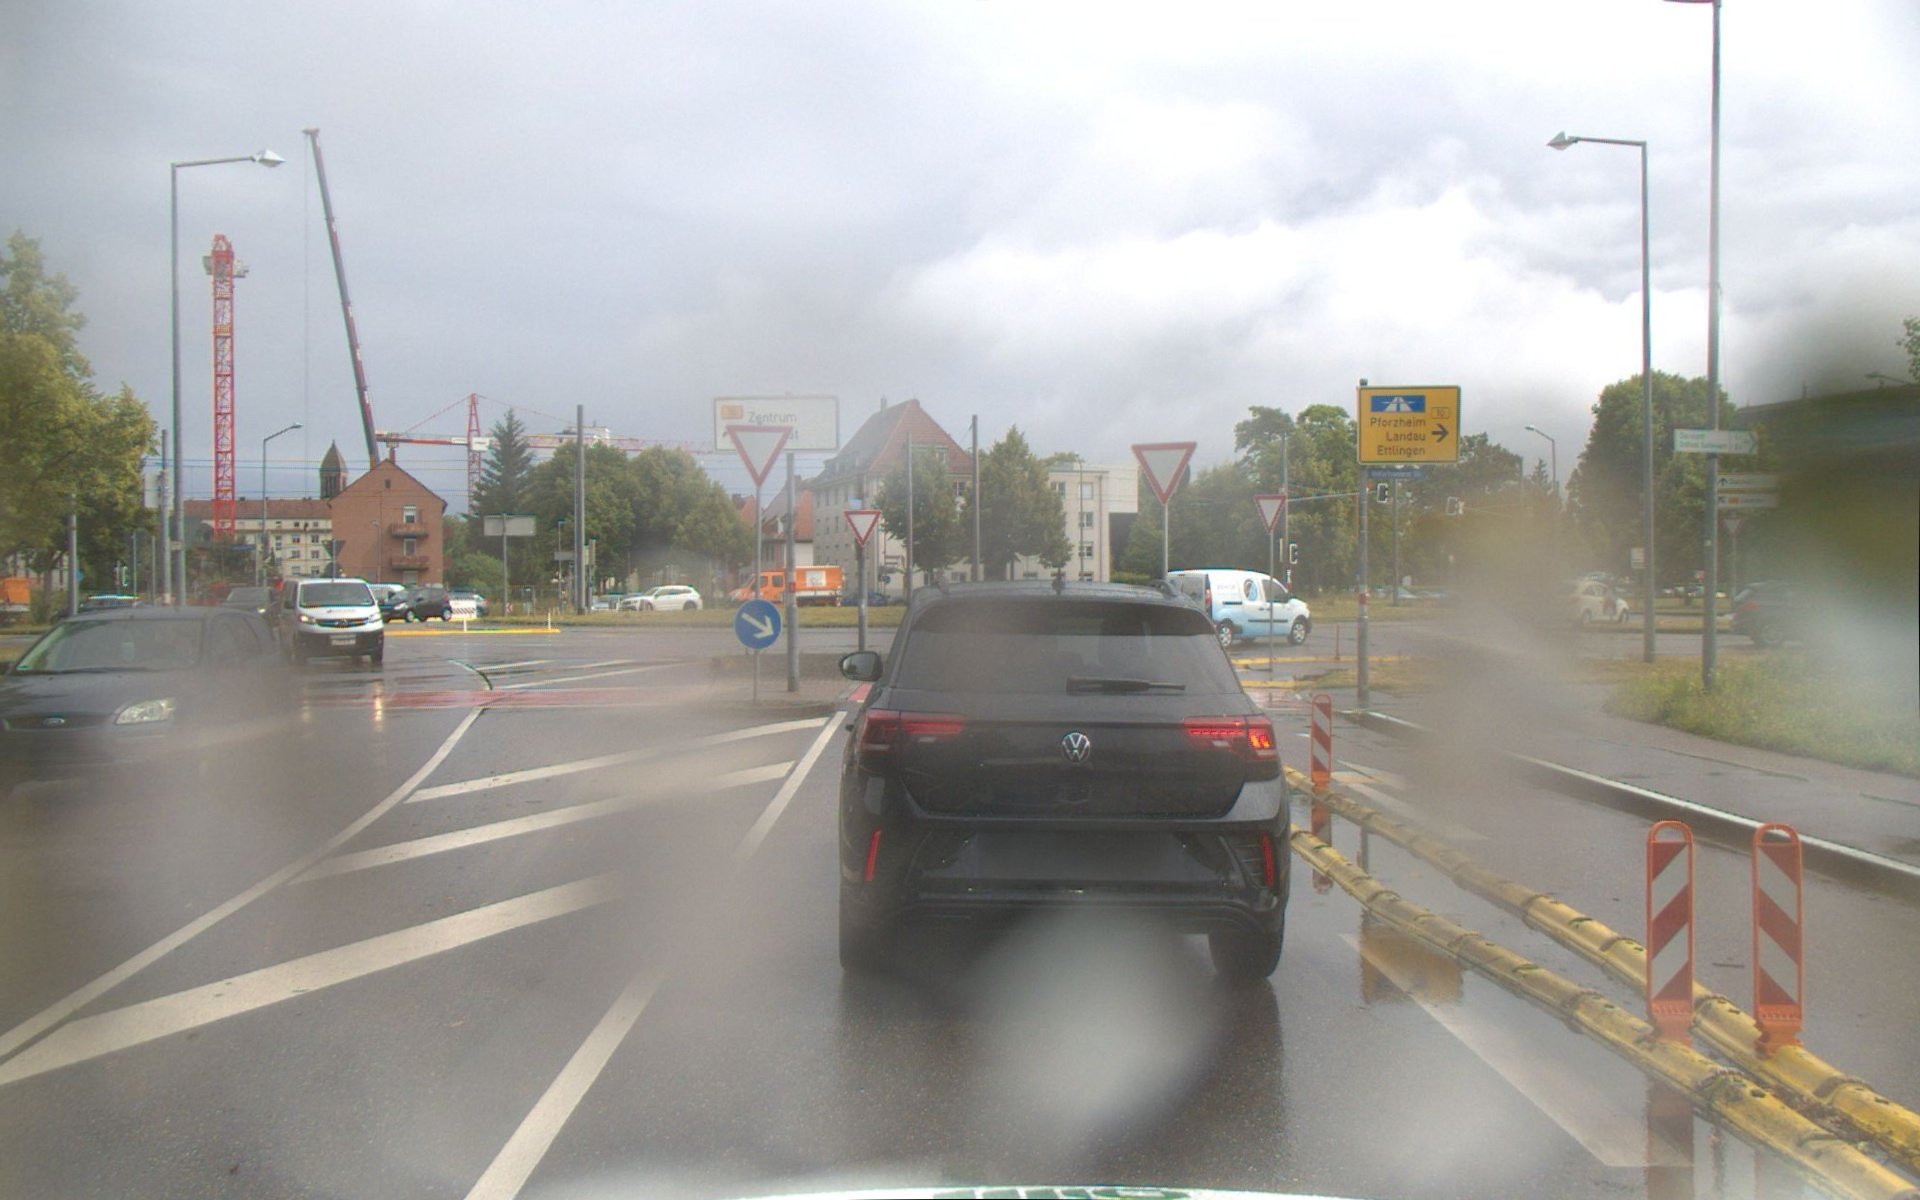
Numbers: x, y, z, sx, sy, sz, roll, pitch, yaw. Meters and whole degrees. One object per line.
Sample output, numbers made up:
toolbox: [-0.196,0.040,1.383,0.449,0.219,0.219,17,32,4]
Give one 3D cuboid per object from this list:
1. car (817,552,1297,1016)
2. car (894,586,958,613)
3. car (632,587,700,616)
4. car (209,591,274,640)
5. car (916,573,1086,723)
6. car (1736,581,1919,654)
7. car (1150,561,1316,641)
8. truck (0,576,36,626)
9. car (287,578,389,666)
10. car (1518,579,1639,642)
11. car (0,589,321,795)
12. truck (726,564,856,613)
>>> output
car: [0.241,0.638,7.608,1.674,1.601,3.680,0,0,-3]
car: [-2.065,-0.018,100.419,3.791,1.612,1.567,0,0,1]
car: [-16.584,0.087,93.320,3.469,1.612,1.547,0,0,-37]
car: [-26.113,0.543,60.036,1.716,1.693,4.068,-1,0,-30]
car: [0.380,0.474,18.865,1.700,1.540,3.602,0,0,-3]
car: [20.668,0.395,39.348,3.859,1.673,1.671,0,0,20]
car: [6.691,0.006,40.247,1.839,1.841,4.372,0,1,45]
truck: [-49.885,0.078,82.100,6.570,2.485,2.432,-1,0,-4]
car: [-14.524,0.474,38.464,1.864,1.909,5.092,0,0,-25]
car: [19.273,0.291,51.455,3.967,1.862,1.969,-1,0,-43]
car: [-7.005,0.700,14.412,1.840,1.508,4.169,-1,0,-9]
truck: [-9.482,-0.657,92.903,6.967,2.696,2.314,0,0,-22]
